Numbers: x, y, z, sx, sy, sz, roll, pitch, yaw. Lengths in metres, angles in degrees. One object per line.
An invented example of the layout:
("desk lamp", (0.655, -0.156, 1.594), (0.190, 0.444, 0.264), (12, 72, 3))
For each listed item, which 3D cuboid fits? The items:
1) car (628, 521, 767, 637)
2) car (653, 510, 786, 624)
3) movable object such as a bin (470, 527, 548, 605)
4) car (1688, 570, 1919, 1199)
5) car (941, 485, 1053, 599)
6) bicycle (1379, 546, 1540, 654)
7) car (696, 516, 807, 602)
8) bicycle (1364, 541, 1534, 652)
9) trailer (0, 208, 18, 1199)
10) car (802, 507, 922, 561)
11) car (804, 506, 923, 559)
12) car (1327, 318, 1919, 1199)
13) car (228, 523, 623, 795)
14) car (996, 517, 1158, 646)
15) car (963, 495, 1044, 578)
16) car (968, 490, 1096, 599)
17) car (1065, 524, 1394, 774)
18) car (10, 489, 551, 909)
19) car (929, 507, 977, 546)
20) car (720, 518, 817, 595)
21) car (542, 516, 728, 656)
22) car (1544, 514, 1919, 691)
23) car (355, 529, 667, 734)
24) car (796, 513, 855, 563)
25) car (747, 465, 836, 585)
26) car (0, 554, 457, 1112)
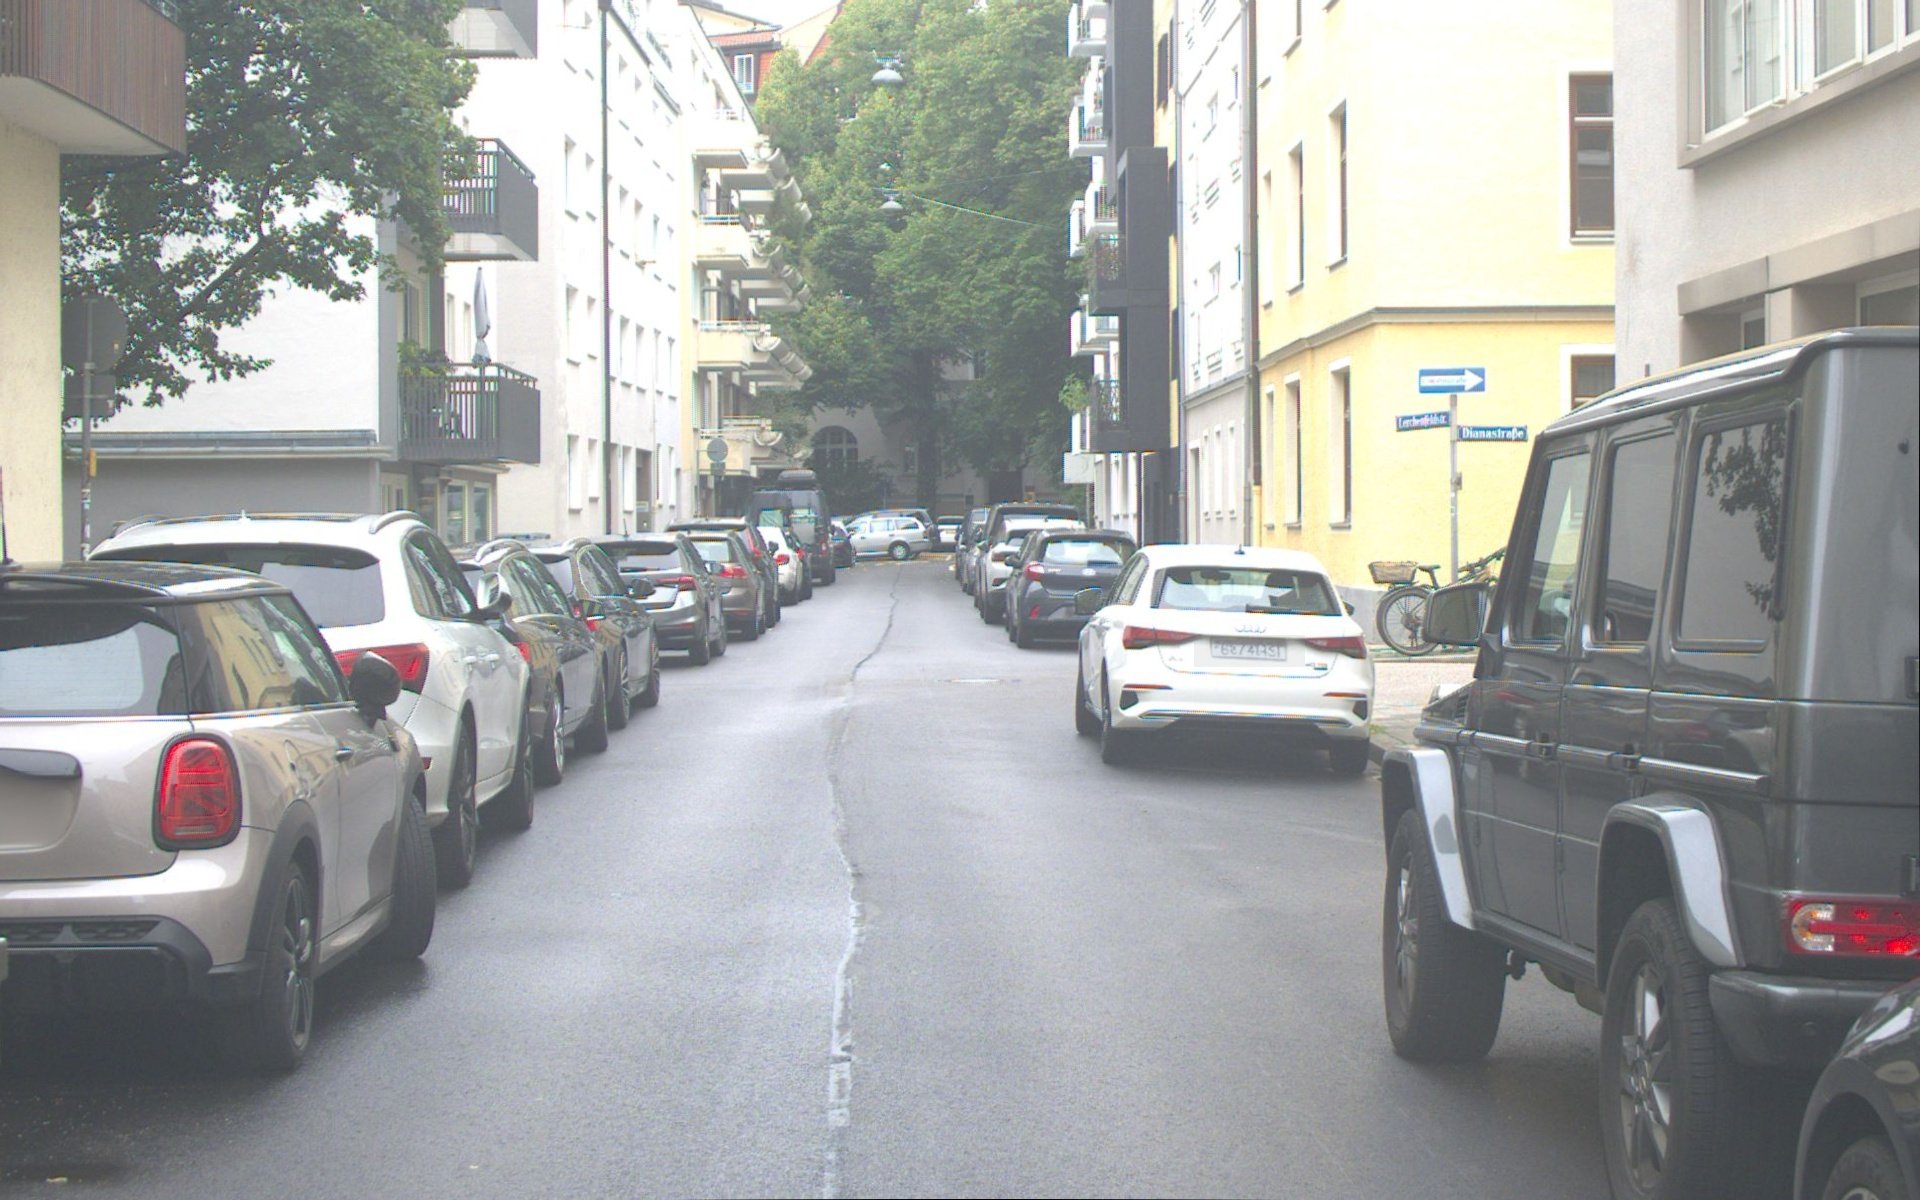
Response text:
("car", (-3.490, -0.313, 46.203), (1.693, 1.437, 3.978), (-1, 1, -2))
("car", (-3.615, -0.538, 52.241), (1.776, 1.623, 4.415), (-1, 1, -1))
("movable object such as a bin", (-8.065, -0.619, 61.501), (1.166, 1.332, 1.025), (-2, 1, 2))
("car", (2.242, 0.730, 3.892), (1.711, 1.481, 4.245), (1, 1, -3))
("car", (0.620, -1.049, 61.137), (1.829, 1.903, 4.416), (1, 2, -1))
("bicycle", (5.537, -0.001, 38.145), (1.713, 1.135, 0.374), (-2, 3, -1))
("car", (-3.902, -0.804, 65.020), (1.777, 1.482, 4.519), (-3, 2, 0))
("bicycle", (5.499, -0.042, 38.655), (1.808, 1.170, 0.505), (-2, 3, -3))
("trailer", (-2.365, 0.398, 4.343), (1.355, 2.108, 3.318), (0, 1, 2))
("car", (-3.243, -2.182, 113.660), (3.885, 1.579, 1.648), (-3, 1, -2))
("car", (-3.250, -2.287, 115.633), (3.885, 1.579, 1.648), (-3, 1, -2))
("car", (2.179, 0.427, 8.625), (1.750, 1.968, 4.344), (2, 2, -3))
("car", (-3.244, 0.285, 21.696), (1.766, 1.478, 4.424), (-1, 2, 0))
("car", (1.429, -0.270, 43.553), (1.751, 1.464, 4.343), (2, 2, -1))
("car", (1.102, -1.643, 88.356), (1.829, 1.992, 4.416), (3, 1, -1))
("car", (1.079, -0.891, 53.523), (1.682, 1.562, 4.416), (2, 2, -2))
("car", (1.761, 0.268, 23.655), (1.819, 1.403, 3.953), (1, 3, -2))
("car", (-3.011, 0.363, 16.115), (1.765, 1.669, 4.368), (-1, 1, -2))
("car", (-0.278, -2.809, 130.532), (1.642, 1.379, 3.746), (-3, 2, -1))
("car", (-3.903, -0.913, 70.481), (1.776, 1.448, 4.046), (-3, 2, -1))
("car", (-3.593, -0.194, 38.552), (1.693, 1.437, 3.942), (-1, 1, 0))
("car", (7.416, -0.011, 30.046), (4.203, 1.395, 2.001), (-1, 3, -4))
("car", (-3.411, 0.182, 26.874), (1.856, 1.403, 4.383), (-1, 2, 0))
("car", (-4.045, -1.881, 103.704), (1.642, 1.379, 3.483), (-3, 2, -1))
("car", (-4.135, -1.867, 85.049), (1.936, 2.792, 4.533), (-3, 1, -1))
("car", (-2.685, 0.593, 10.872), (1.652, 1.431, 3.803), (-1, 1, -1))
